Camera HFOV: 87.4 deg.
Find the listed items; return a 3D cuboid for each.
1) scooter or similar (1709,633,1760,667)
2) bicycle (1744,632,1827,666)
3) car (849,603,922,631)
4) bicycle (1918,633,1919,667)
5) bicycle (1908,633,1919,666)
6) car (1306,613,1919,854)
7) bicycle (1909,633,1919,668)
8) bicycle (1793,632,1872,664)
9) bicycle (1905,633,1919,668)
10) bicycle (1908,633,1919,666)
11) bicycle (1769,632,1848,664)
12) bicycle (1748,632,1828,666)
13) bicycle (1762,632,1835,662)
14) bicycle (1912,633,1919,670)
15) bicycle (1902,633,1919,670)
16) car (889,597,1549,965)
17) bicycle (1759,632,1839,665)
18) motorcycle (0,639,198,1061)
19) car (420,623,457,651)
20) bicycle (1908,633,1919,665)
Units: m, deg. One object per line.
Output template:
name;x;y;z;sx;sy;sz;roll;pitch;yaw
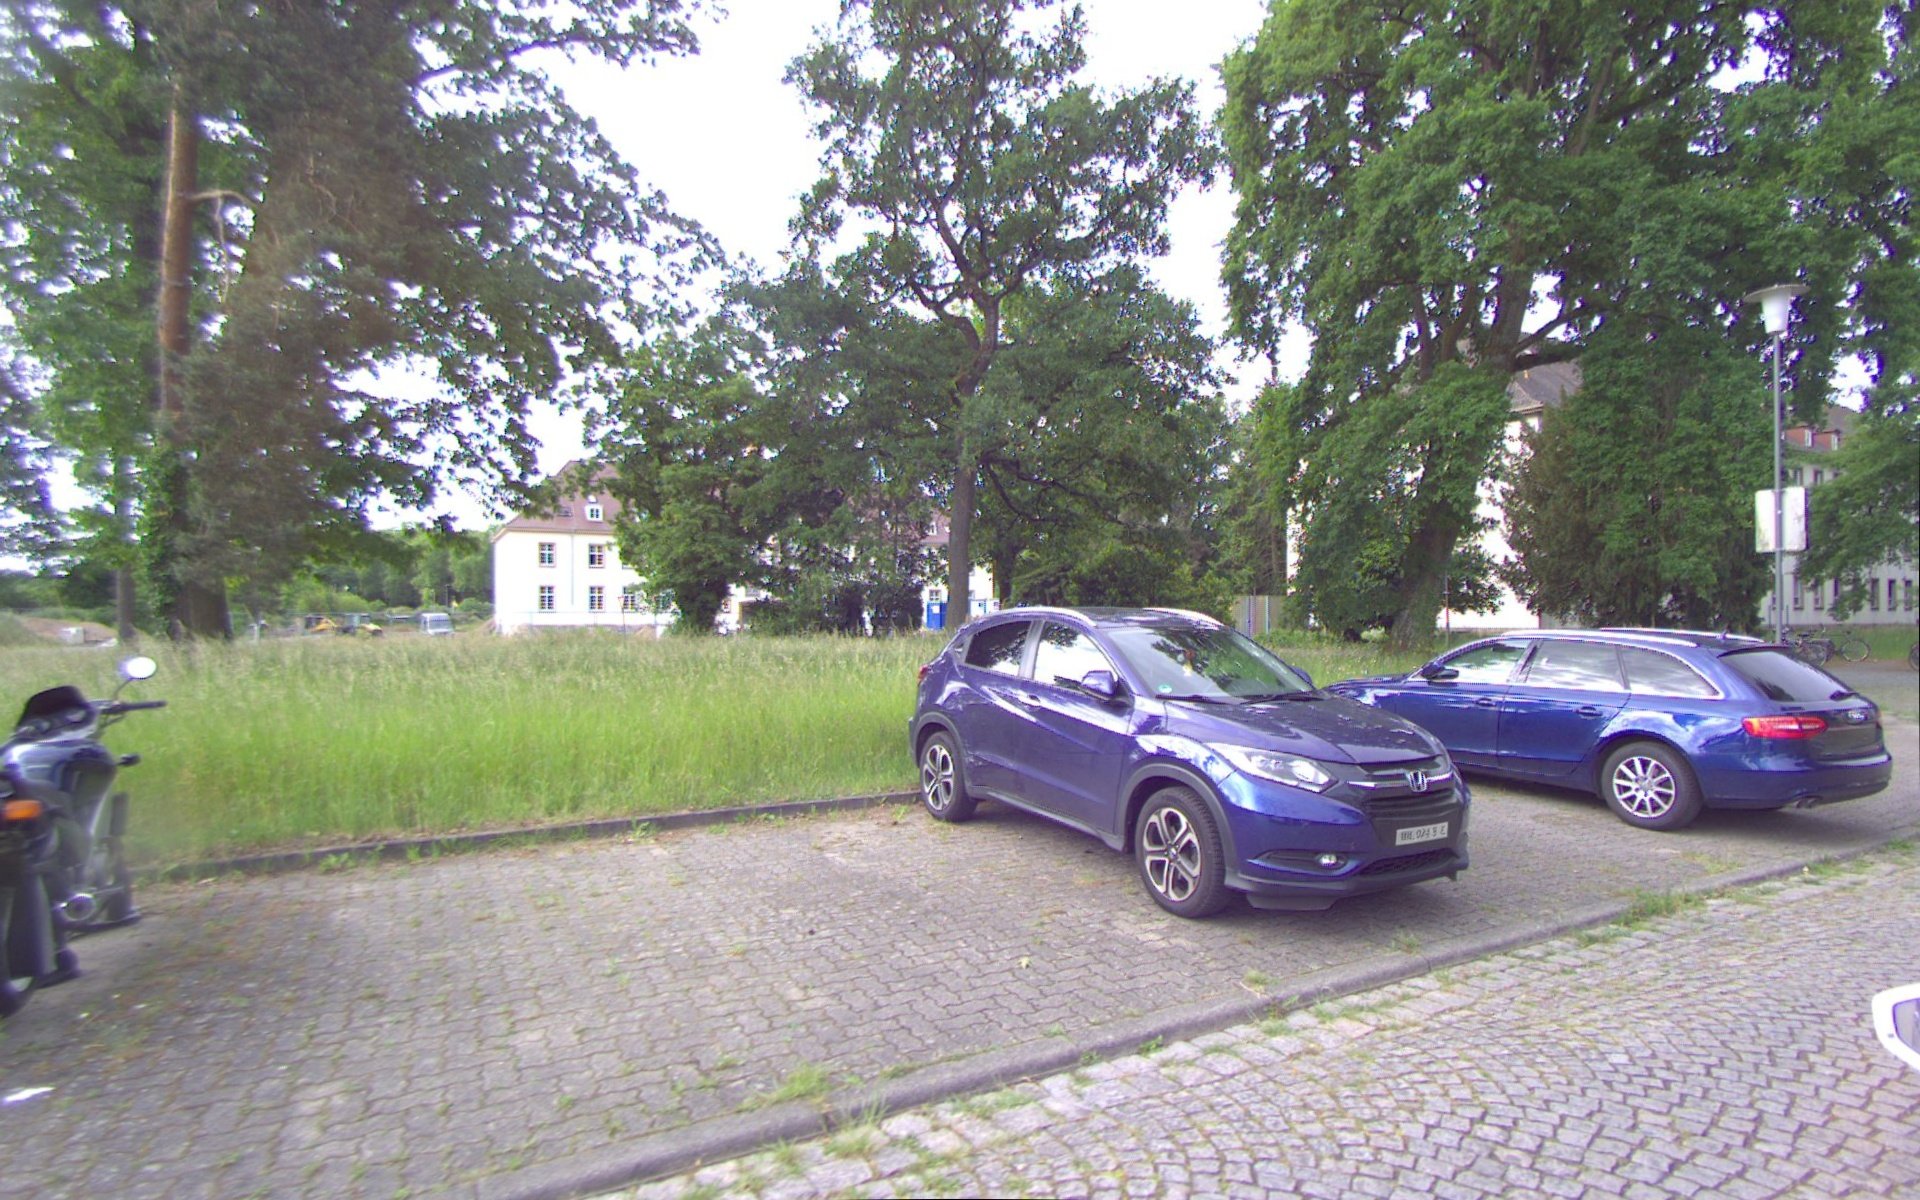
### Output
scooter or similar;24.395;1.565;31.648;0.445;1.052;1.352;0;-1;-7
bicycle;25.596;1.517;31.176;1.931;1.002;0.625;-1;-1;35
car;-5.588;1.328;75.366;5.162;2.040;1.987;1;-1;-27
bicycle;29.611;1.495;29.611;1.934;1.002;0.624;-1;-1;39
bicycle;30.022;1.516;30.360;1.934;1.002;0.624;-1;-1;39
car;5.389;0.896;8.851;1.950;1.480;4.286;0;0;-27
bicycle;28.885;1.480;29.134;1.934;1.002;0.624;-1;-1;39
bicycle;29.306;1.600;33.774;0.621;1.002;1.942;1;-1;-39
bicycle;28.395;1.467;28.740;1.934;1.002;0.624;-1;-1;39
bicycle;30.437;1.529;30.803;1.934;1.002;0.624;-1;-1;39
bicycle;28.308;1.590;33.527;0.621;1.002;1.942;1;-1;-39
bicycle;25.955;1.528;31.531;1.934;1.002;0.624;-1;-1;39
bicycle;29.838;1.653;35.761;1.937;1.002;0.623;-1;-1;45
bicycle;27.777;1.442;27.863;1.934;1.002;0.624;-1;-1;39
bicycle;27.230;1.432;27.579;1.935;1.002;0.624;-1;-1;41
car;1.279;0.789;6.690;1.865;1.598;4.208;0;0;-30
bicycle;27.262;1.563;32.662;1.931;1.002;0.625;-1;-1;35
motorcycle;-3.907;0.874;4.255;0.710;1.309;2.265;0;1;-28
car;-43.628;3.082;83.975;1.981;2.229;4.987;0;-1;-36
bicycle;31.242;1.555;31.654;1.934;1.002;0.624;-1;-1;39
